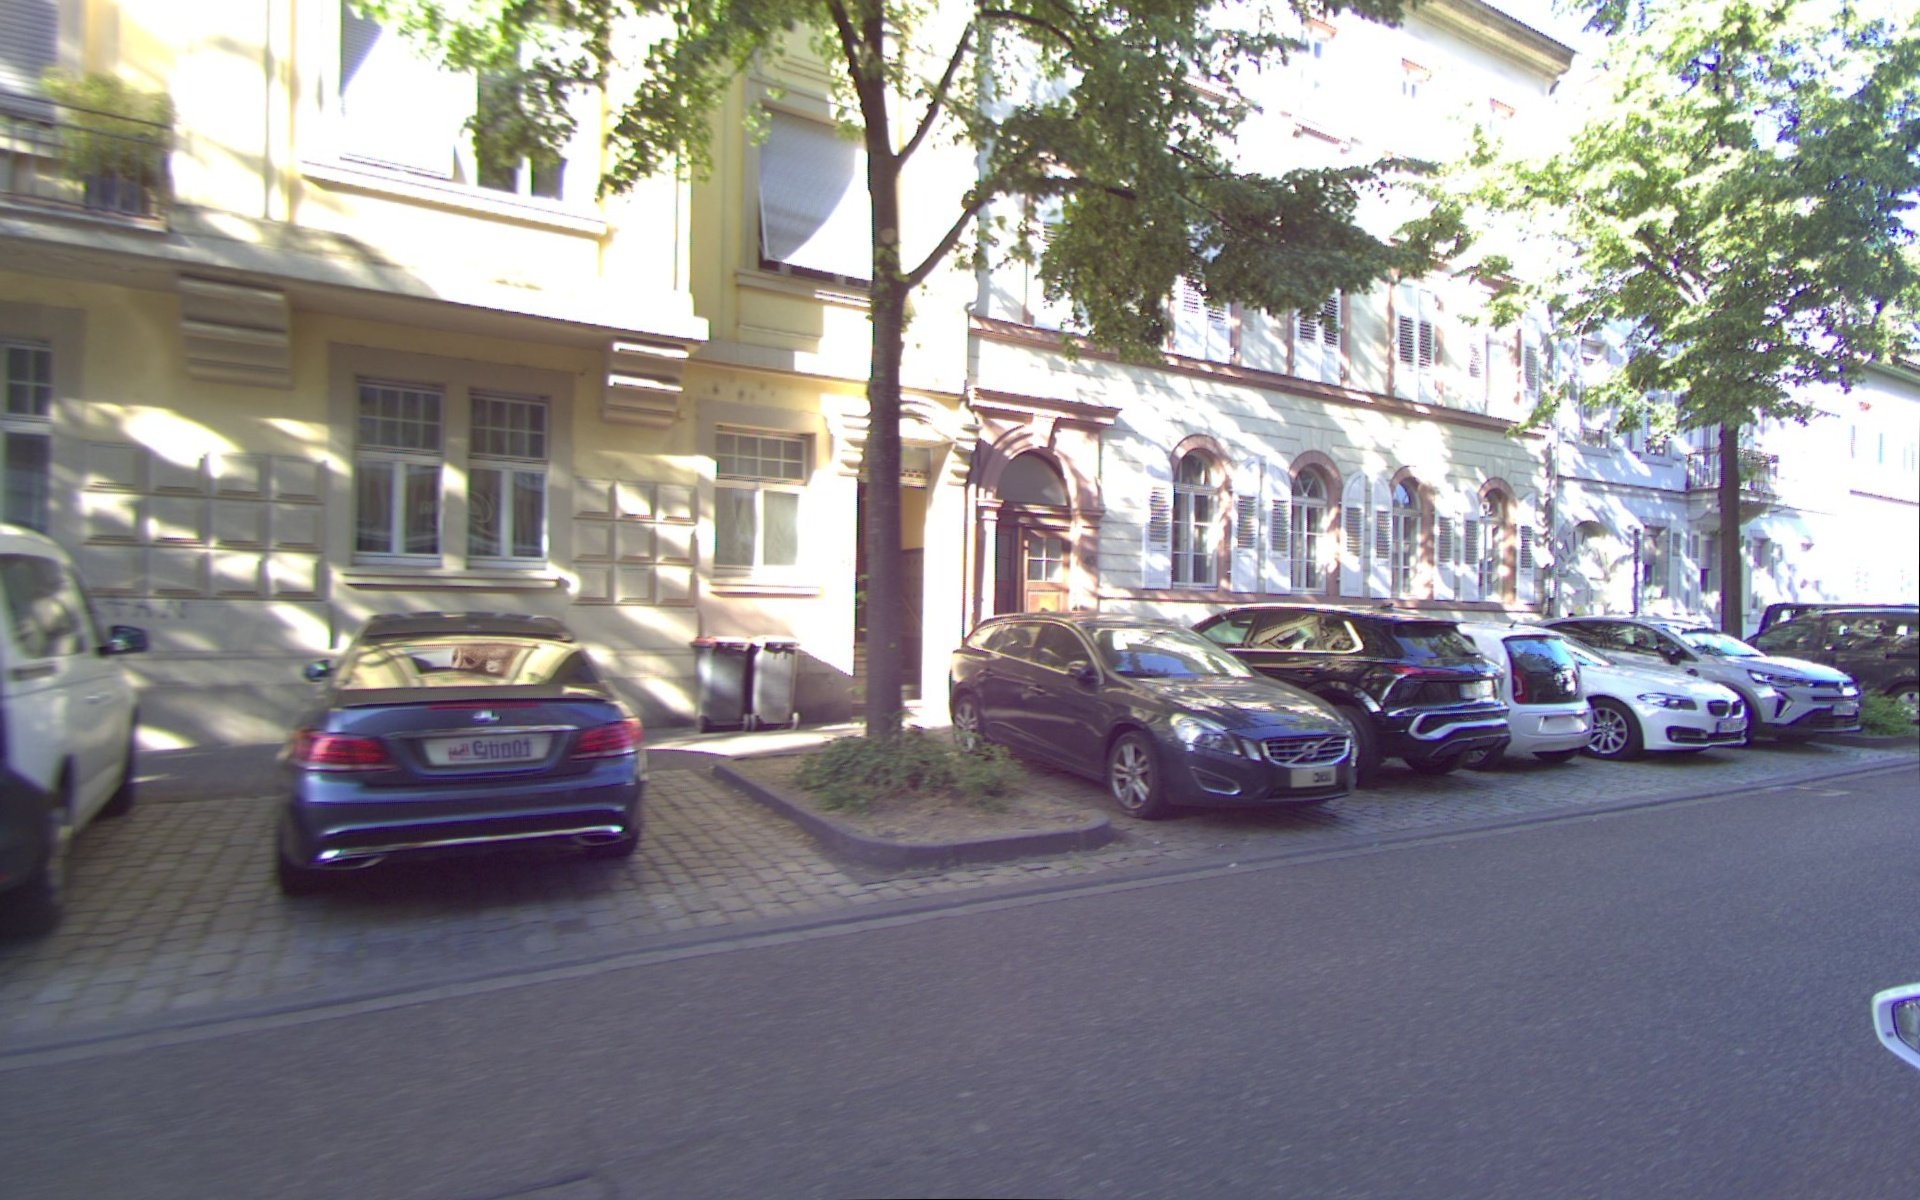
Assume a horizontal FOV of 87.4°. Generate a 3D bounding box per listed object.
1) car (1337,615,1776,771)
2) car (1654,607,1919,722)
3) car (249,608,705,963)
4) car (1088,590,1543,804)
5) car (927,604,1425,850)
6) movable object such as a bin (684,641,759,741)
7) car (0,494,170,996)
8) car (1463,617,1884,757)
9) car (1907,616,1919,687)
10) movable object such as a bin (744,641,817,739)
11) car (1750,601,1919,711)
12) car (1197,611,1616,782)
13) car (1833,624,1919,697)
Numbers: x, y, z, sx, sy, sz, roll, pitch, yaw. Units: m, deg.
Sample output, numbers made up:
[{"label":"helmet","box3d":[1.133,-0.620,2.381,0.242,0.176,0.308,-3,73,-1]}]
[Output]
[{"label":"car","box3d":[7.235,0.998,12.709,1.894,1.561,4.445,1,-1,-30]},{"label":"car","box3d":[15.109,1.037,17.651,1.892,1.795,4.449,1,-1,-28]},{"label":"car","box3d":[-3.209,0.803,6.526,1.894,1.458,4.318,1,-1,-30]},{"label":"car","box3d":[3.393,0.812,10.490,1.893,1.732,4.320,1,-1,-29]},{"label":"car","box3d":[1.513,0.838,8.808,1.892,1.561,4.449,1,-1,-27]},{"label":"movable object such as a bin","box3d":[-2.730,1.018,11.481,0.676,1.090,0.638,1,-1,-29]},{"label":"car","box3d":[-5.396,0.525,5.053,1.897,1.858,4.312,1,-1,-34]},{"label":"car","box3d":[9.606,1.055,13.988,1.891,1.561,4.452,1,-1,-26]},{"label":"car","box3d":[25.246,1.271,23.152,1.785,1.735,4.662,1,-1,-28]},{"label":"movable object such as a bin","box3d":[-2.116,1.039,11.818,0.676,1.090,0.638,1,-1,-29]},{"label":"car","box3d":[17.895,1.019,18.705,1.892,1.976,4.662,1,-1,-28]},{"label":"car","box3d":[4.973,0.954,11.856,1.787,1.603,4.320,1,-1,-29]},{"label":"car","box3d":[20.825,1.268,20.232,1.663,1.478,4.625,1,-1,-29]}]
